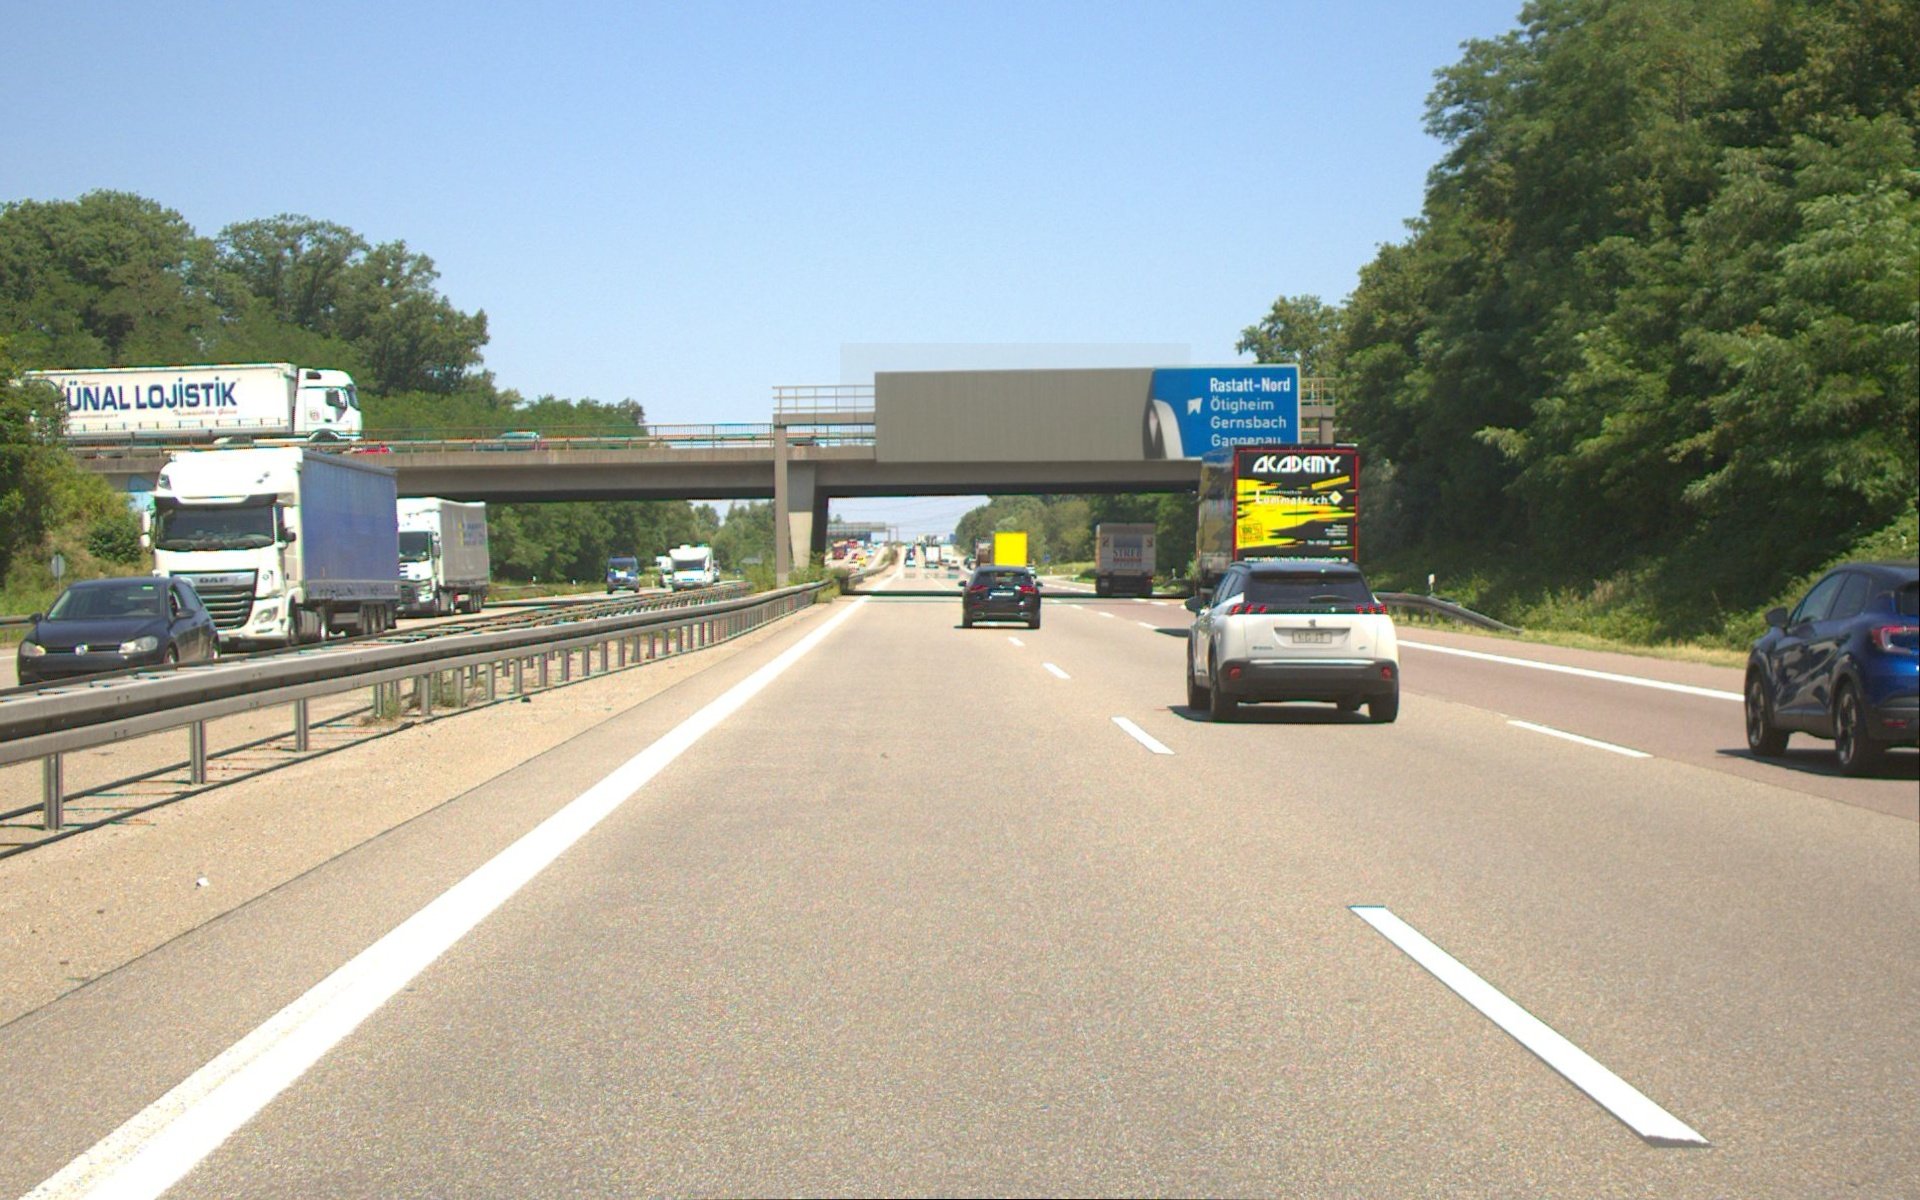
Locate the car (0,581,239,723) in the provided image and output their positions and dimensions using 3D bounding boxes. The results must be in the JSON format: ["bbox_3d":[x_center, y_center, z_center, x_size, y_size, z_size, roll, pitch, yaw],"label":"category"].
[{"bbox_3d":[-10.113,0.590,41.596,1.807,1.585,4.669,1,0,0],"label":"car"}]

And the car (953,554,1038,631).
[{"bbox_3d":[0.801,-0.169,79.362,1.827,1.700,4.000,1,0,-1],"label":"car"}]

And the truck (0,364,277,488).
[{"bbox_3d":[-41.598,-8.435,166.457,16.457,5.547,3.175,1,0,-8],"label":"truck"}]

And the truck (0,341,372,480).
[{"bbox_3d":[-34.169,-8.240,150.114,16.458,5.547,3.175,1,0,-5],"label":"truck"}]

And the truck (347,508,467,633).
[{"bbox_3d":[-18.930,-0.981,118.062,2.969,4.048,6.459,-3,0,0],"label":"truck"}]

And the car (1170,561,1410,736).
[{"bbox_3d":[3.197,0.440,34.185,1.827,1.603,4.809,1,0,-1],"label":"car"}]

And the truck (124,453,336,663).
[{"bbox_3d":[-14.688,-0.829,69.631,2.986,4.005,6.041,1,0,0],"label":"truck"}]

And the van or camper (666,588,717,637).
[{"bbox_3d":[-16.528,0.754,211.697,2.592,2.897,7.234,1,0,-1],"label":"van or camper"}]

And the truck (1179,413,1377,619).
[{"bbox_3d":[6.713,-1.704,74.225,2.975,4.023,10.982,2,0,-1],"label":"truck"}]

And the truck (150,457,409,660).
[{"bbox_3d":[-14.760,-0.850,75.910,2.986,4.005,13.937,1,0,0],"label":"truck"}]

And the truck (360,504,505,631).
[{"bbox_3d":[-19.068,-1.135,125.142,3.066,4.237,13.961,-2,0,0],"label":"truck"}]

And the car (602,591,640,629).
[{"bbox_3d":[-22.162,0.634,224.936,2.089,2.391,5.735,1,0,-2],"label":"car"}]

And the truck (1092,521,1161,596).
[{"bbox_3d":[7.811,-1.874,160.105,3.028,3.308,10.769,1,0,4],"label":"truck"}]

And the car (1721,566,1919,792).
[{"bbox_3d":[7.173,0.553,25.888,1.870,1.551,4.201,1,0,-1],"label":"car"}]
